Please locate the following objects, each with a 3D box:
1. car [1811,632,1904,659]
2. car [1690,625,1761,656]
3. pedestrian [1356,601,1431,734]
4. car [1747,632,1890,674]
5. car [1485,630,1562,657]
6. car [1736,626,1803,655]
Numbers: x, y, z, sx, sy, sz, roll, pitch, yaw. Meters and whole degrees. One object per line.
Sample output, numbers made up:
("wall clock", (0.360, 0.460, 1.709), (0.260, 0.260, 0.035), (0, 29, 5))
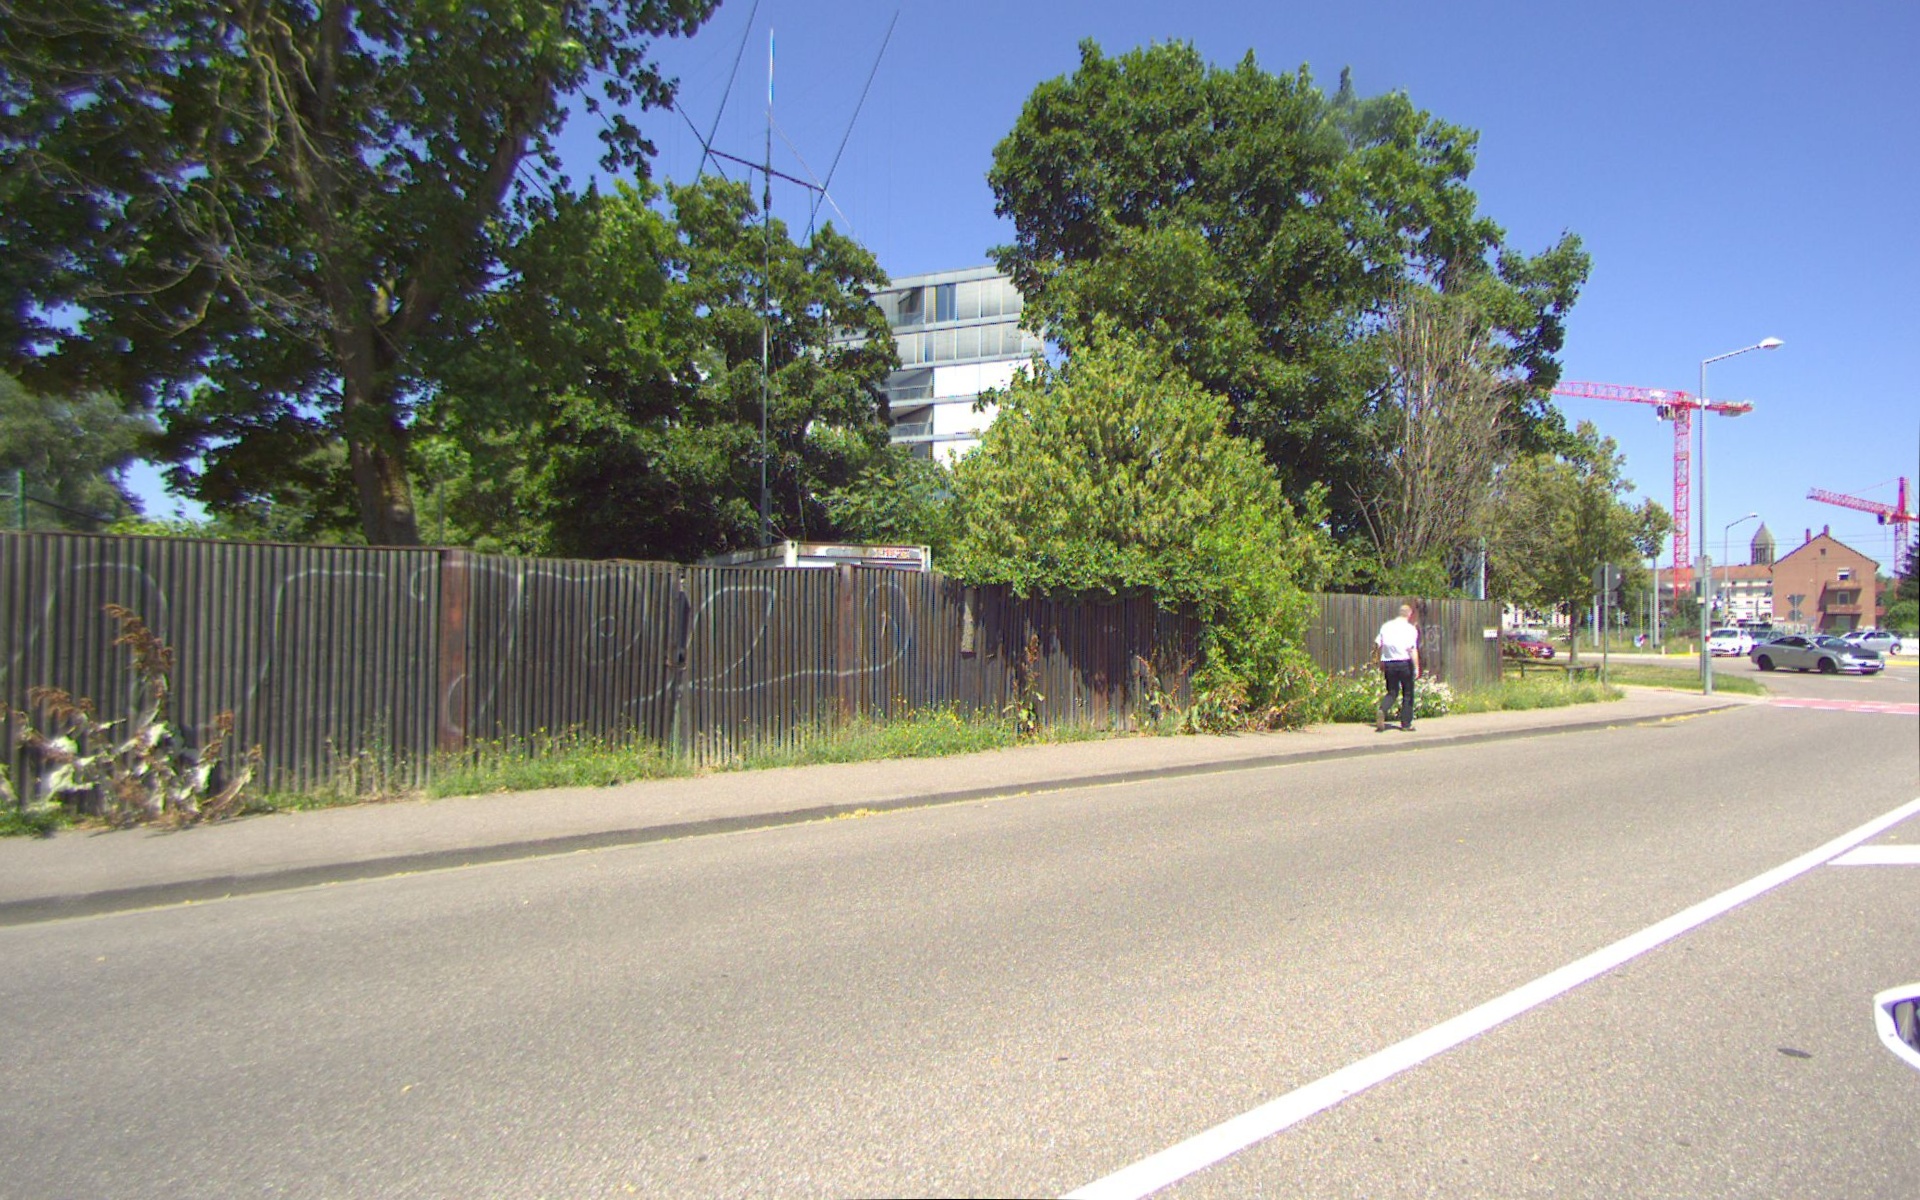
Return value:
("car", (55.606, 2.793, 62.257), (4.136, 1.520, 1.713), (1, 0, 3))
("car", (42.122, 2.225, 55.263), (3.953, 1.570, 1.748), (2, -1, -30))
("pedestrian", (6.203, 0.945, 14.381), (0.841, 1.849, 0.589), (1, 0, -30))
("car", (31.266, 1.884, 36.771), (1.786, 1.334, 4.280), (1, -1, 4))
("car", (31.510, 2.402, 56.263), (1.790, 1.334, 3.650), (1, -1, -11))
("car", (46.932, 2.358, 58.231), (3.953, 1.570, 1.748), (2, -1, -30))
